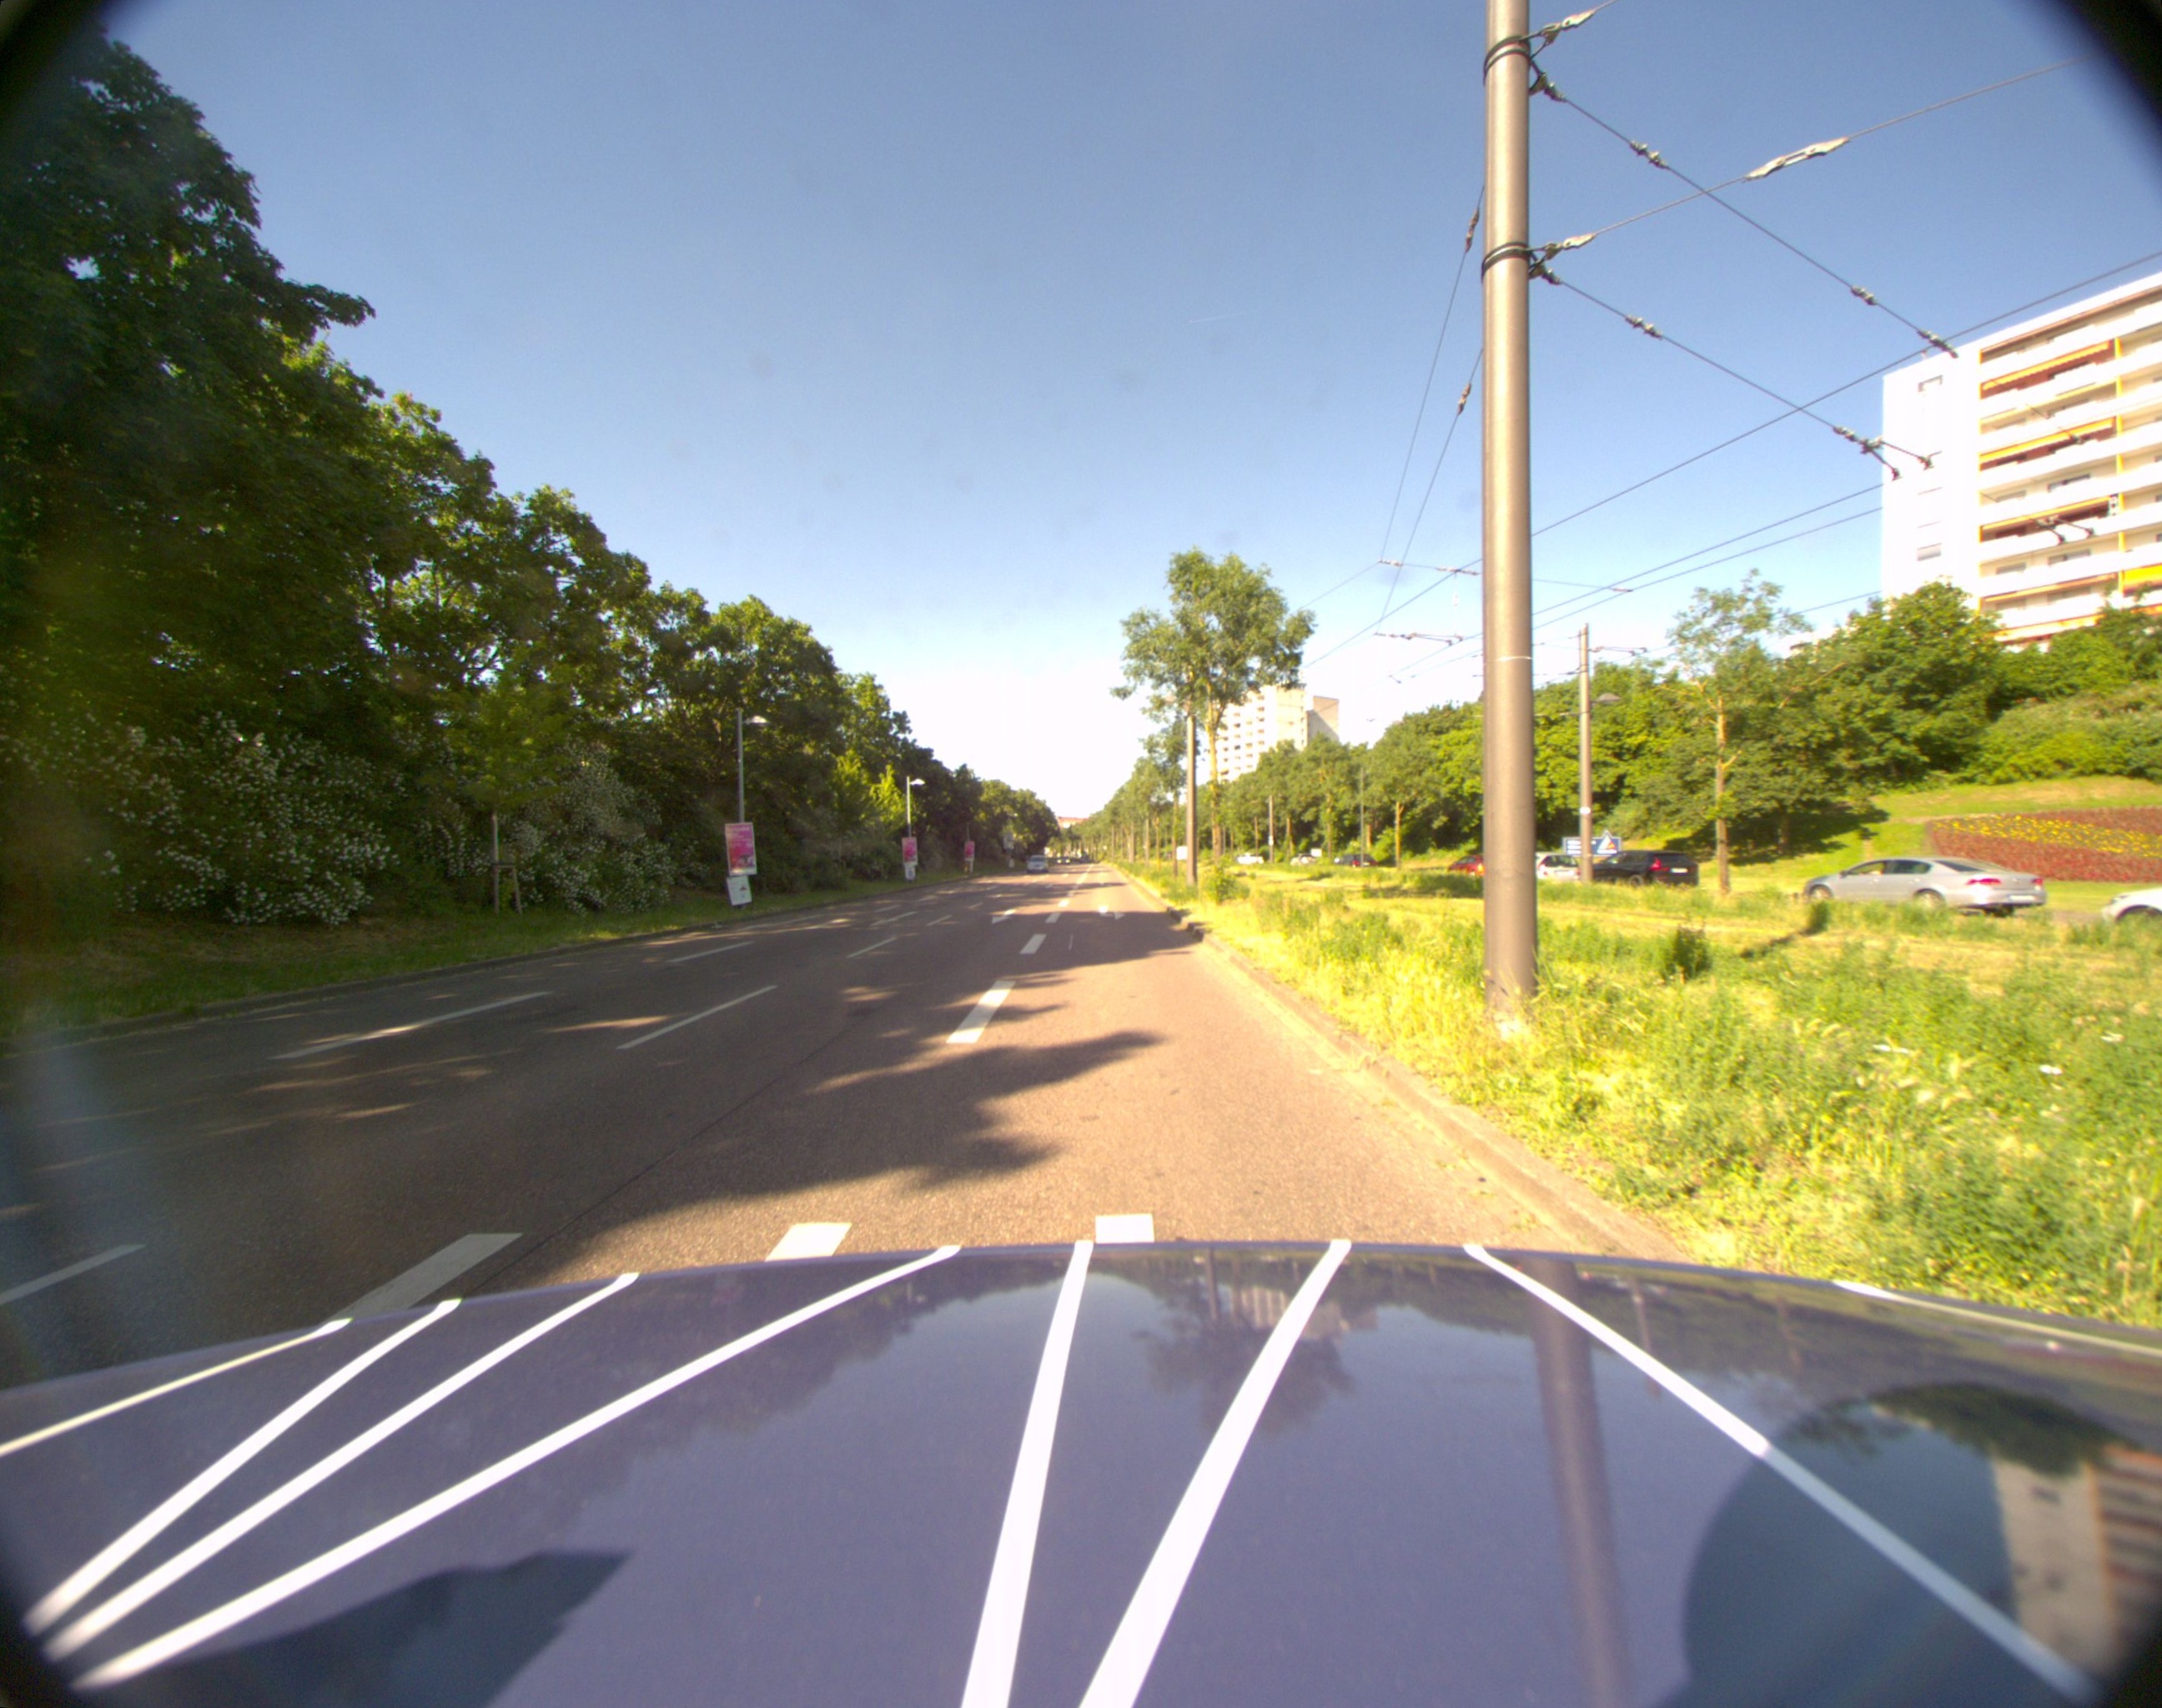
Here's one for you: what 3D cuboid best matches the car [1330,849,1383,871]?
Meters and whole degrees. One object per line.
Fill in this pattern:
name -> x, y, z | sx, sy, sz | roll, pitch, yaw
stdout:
car -> 18.833, 0.381, 52.187 | 1.998, 1.401, 4.990 | -2, 1, 3

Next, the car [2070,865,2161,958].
car -> 17.831, 0.901, 11.040 | 1.593, 1.464, 4.184 | 1, -1, 3

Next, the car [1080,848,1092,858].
car -> 0.868, -0.185, 130.397 | 1.998, 1.696, 3.999 | -2, 1, 0

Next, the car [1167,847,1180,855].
car -> 17.963, -0.612, 147.697 | 1.998, 1.575, 5.272 | -2, 1, 1

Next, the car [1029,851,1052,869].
car -> -3.795, 0.556, 71.759 | 1.672, 1.531, 4.060 | -4, 0, 2

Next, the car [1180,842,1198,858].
car -> 17.451, -0.678, 123.181 | 2.044, 2.355, 6.880 | -2, 1, 1

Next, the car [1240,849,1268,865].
car -> 18.562, 0.285, 81.871 | 1.899, 1.612, 4.656 | -2, 1, 0

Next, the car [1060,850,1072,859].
car -> -2.287, 0.084, 119.140 | 1.831, 1.400, 4.216 | -1, 0, 0

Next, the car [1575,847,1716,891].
car -> 21.443, 0.518, 29.142 | 1.998, 1.472, 4.631 | -2, 1, 1

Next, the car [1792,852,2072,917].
car -> 21.516, 0.687, 19.600 | 1.998, 1.424, 4.693 | 0, 1, 1

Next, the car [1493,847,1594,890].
car -> 18.177, 0.523, 30.073 | 1.767, 1.599, 3.757 | 0, 1, 1

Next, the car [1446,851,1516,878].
car -> 21.525, 0.548, 41.098 | 1.661, 1.290, 4.177 | -2, 1, 2

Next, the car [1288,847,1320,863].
car -> 21.877, 0.064, 74.786 | 1.904, 1.390, 4.543 | -2, 1, 1
